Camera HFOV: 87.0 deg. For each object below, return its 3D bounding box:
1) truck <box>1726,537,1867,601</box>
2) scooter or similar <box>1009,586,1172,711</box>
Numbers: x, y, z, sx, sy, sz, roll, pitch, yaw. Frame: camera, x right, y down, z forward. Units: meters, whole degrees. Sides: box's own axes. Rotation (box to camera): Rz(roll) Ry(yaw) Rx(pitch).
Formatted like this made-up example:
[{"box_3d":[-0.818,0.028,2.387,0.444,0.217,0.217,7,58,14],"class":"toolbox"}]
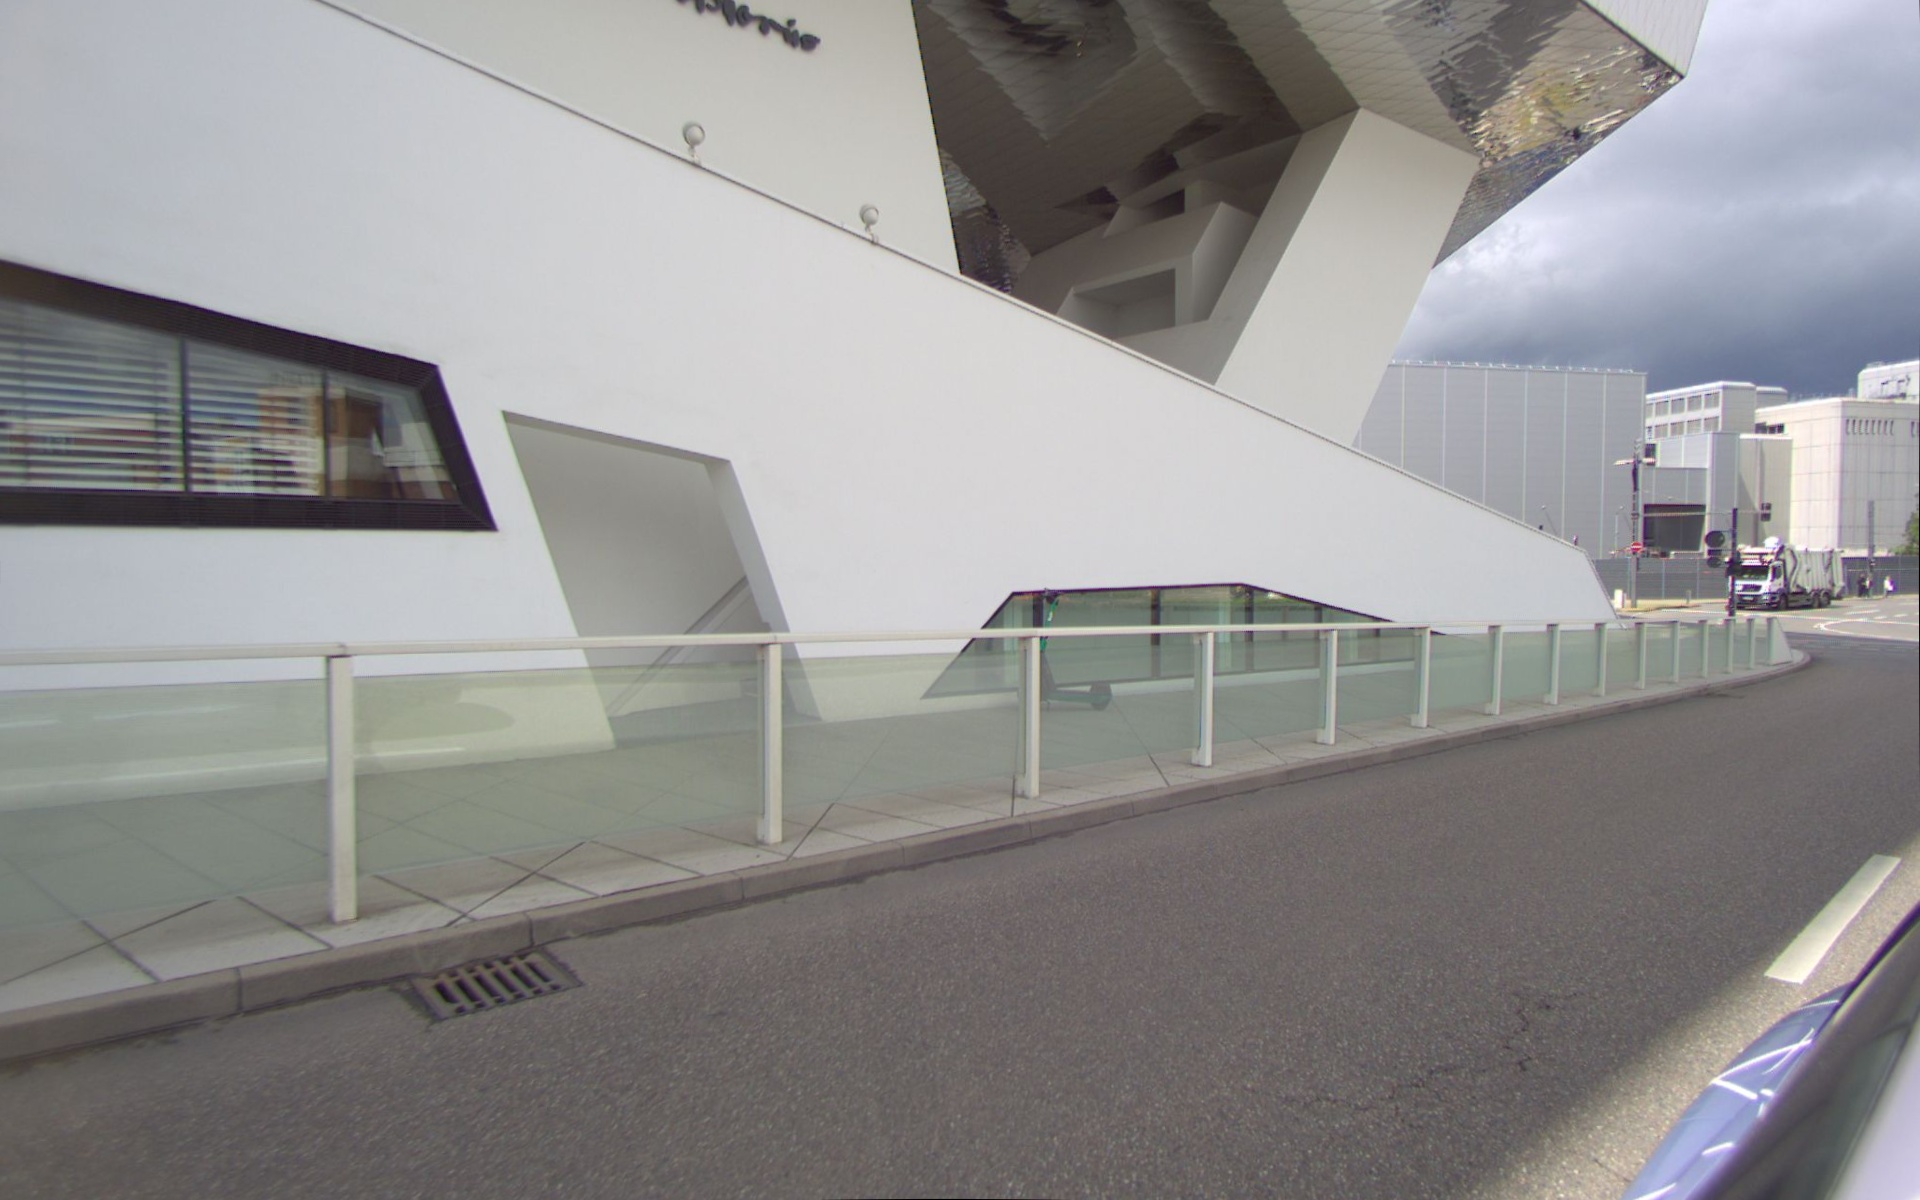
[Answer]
[{"box_3d":[52.118,-1.863,62.940,10.534,3.736,2.850,0,2,-28],"class":"truck"},{"box_3d":[1.481,0.485,11.255,1.919,1.258,0.707,-1,2,-42],"class":"scooter or similar"}]
